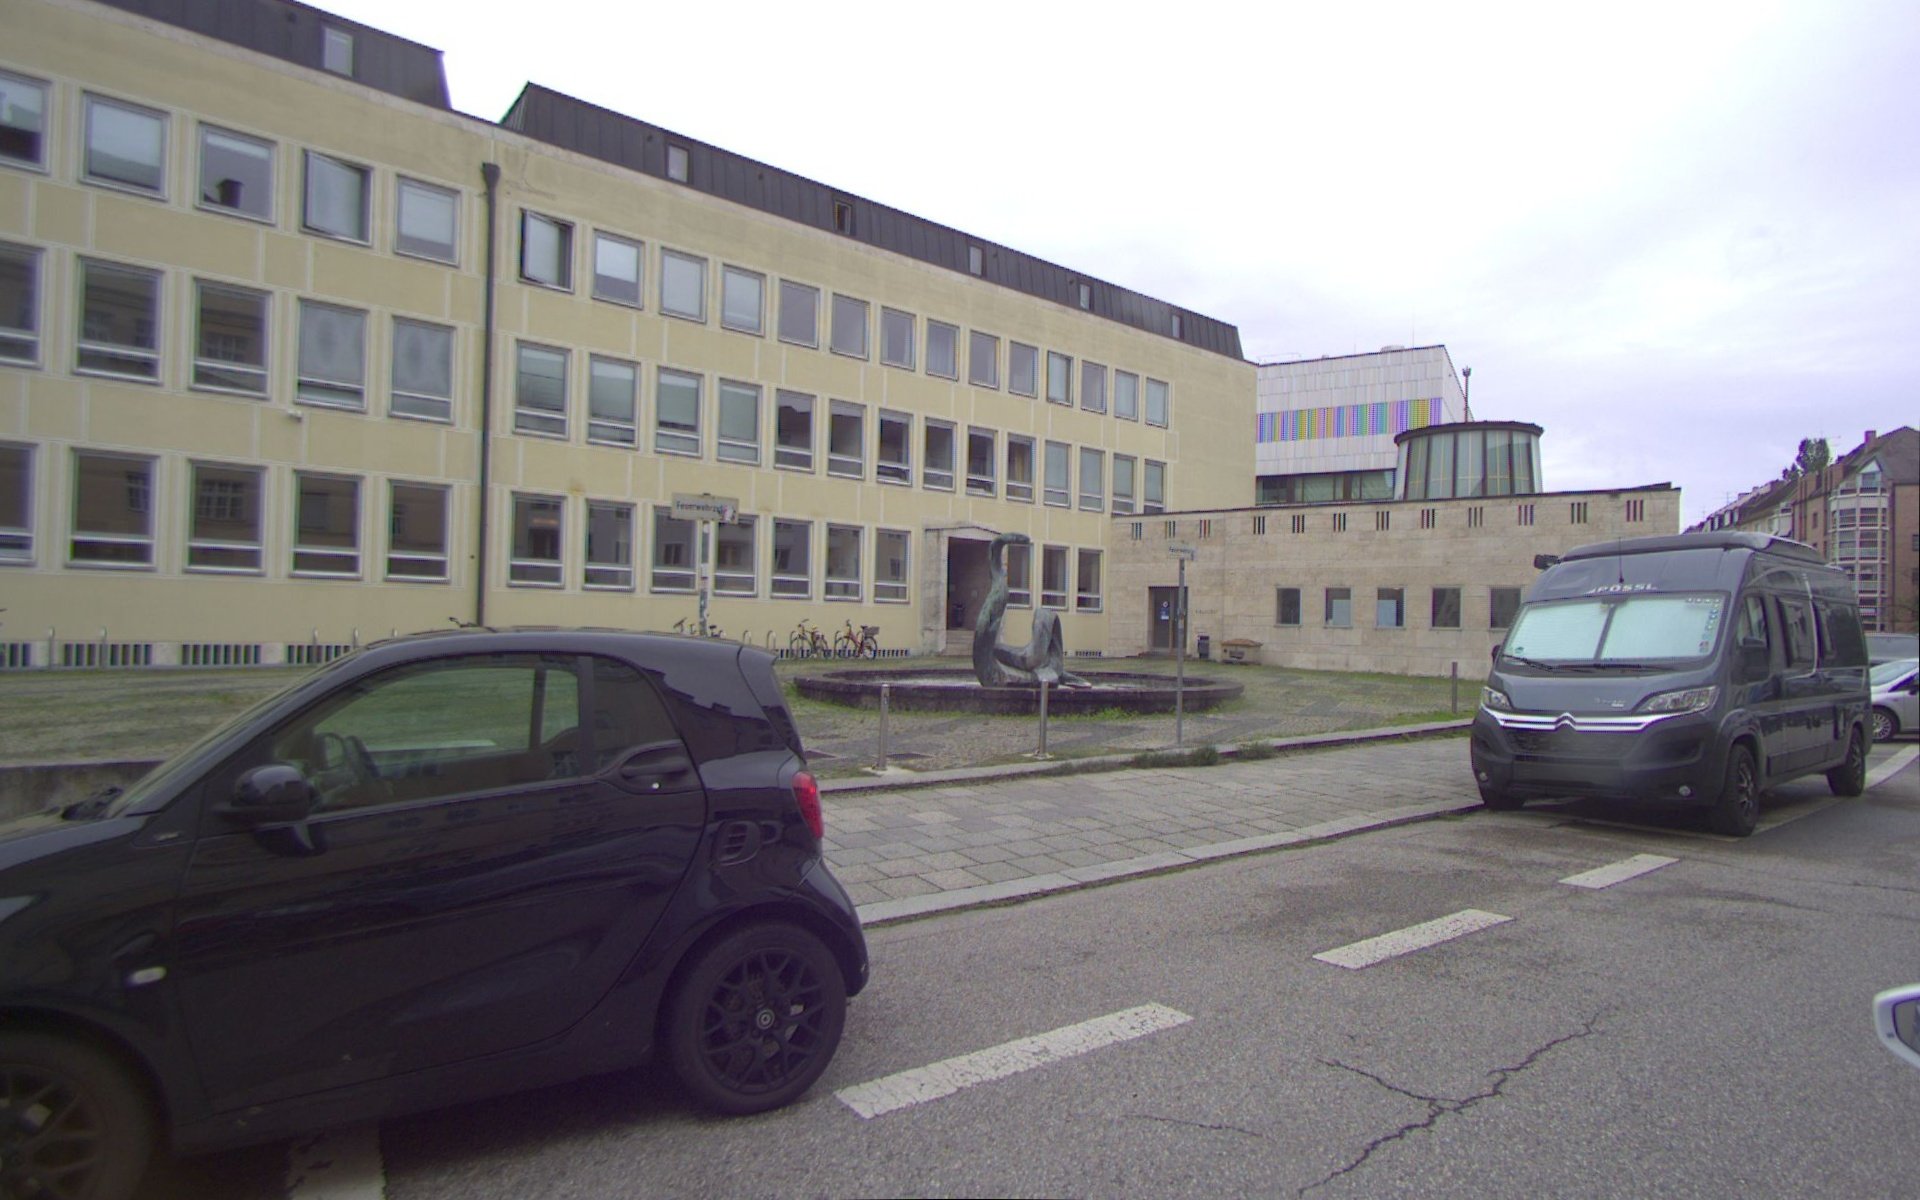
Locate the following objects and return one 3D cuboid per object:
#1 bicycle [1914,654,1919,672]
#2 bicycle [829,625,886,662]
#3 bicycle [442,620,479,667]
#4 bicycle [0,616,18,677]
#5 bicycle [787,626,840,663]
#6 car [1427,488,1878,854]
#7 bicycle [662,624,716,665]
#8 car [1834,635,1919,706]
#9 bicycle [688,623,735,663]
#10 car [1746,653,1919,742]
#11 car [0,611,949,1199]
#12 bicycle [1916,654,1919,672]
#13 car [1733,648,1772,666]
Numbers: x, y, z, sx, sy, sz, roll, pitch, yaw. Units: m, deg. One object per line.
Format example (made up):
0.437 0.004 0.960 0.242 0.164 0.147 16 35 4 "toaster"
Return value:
74.430 4.871 77.010 1.731 1.305 0.551 1 -1 35 "bicycle"
-3.081 1.289 30.117 1.927 1.028 0.622 0 -1 45 "bicycle"
-11.744 1.009 23.590 0.618 1.028 1.937 2 -1 -31 "bicycle"
-17.581 0.819 18.140 0.620 1.028 1.932 2 -1 -38 "bicycle"
-4.301 1.289 29.410 0.620 1.028 1.931 2 -1 -39 "bicycle"
7.197 0.632 10.109 5.966 2.676 2.147 2 -3 -39 "car"
-7.275 1.183 26.890 0.621 1.028 1.930 2 -1 -41 "bicycle"
24.883 1.844 27.140 1.658 1.729 4.495 1 -2 38 "car"
-6.872 1.175 27.724 0.619 1.028 1.934 2 -1 -35 "bicycle"
16.808 1.735 17.887 4.004 1.500 1.686 -1 -5 15 "car"
-1.716 0.852 3.457 2.944 1.521 1.662 2 -3 -31 "car"
74.053 4.822 76.462 1.731 1.305 0.551 1 -1 35 "bicycle"
74.897 5.358 94.996 1.778 1.492 4.116 1 -1 23 "car"
